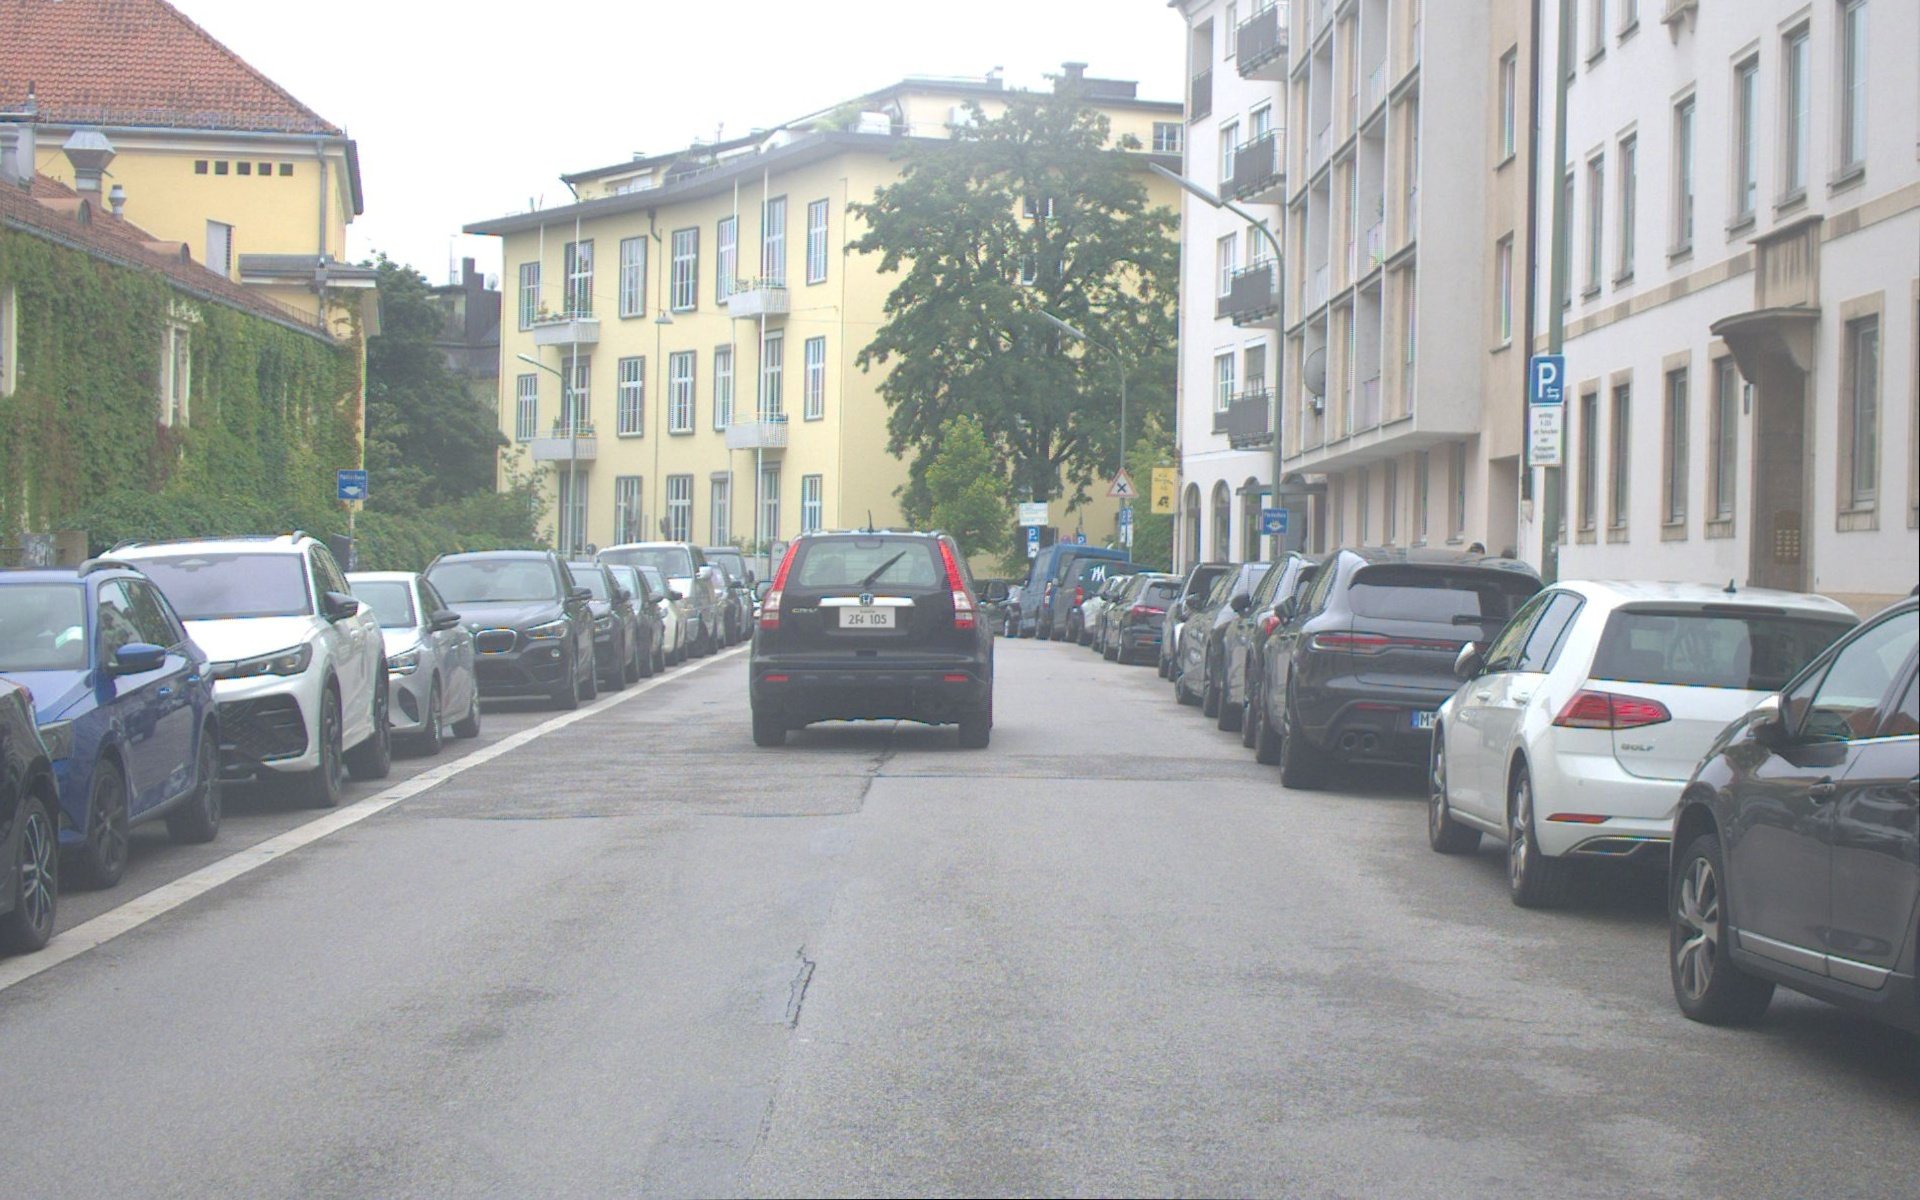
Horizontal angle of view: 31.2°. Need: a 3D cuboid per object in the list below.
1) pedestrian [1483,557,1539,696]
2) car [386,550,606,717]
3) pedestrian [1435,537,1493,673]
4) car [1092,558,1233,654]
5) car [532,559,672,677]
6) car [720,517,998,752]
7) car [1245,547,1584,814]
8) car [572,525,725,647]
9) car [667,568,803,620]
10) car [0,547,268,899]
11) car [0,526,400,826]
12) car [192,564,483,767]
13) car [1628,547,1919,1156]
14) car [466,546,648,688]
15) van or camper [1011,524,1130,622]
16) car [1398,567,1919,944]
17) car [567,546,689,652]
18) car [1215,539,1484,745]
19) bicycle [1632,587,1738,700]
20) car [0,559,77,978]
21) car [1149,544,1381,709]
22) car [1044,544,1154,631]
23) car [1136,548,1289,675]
[{"bbox_3d":[6.349,0.300,39.648,0.531,1.579,0.560,1,1,0],"label":"pedestrian"},{"bbox_3d":[-4.624,0.290,34.751,1.781,1.532,4.196,1,1,-2],"label":"car"},{"bbox_3d":[6.170,0.060,42.101,0.596,1.648,0.630,1,1,0],"label":"pedestrian"},{"bbox_3d":[3.170,0.065,54.536,1.796,1.416,4.483,1,1,-2],"label":"car"},{"bbox_3d":[-4.721,0.204,45.719,1.578,1.450,3.905,1,1,-2],"label":"car"},{"bbox_3d":[-0.716,0.217,27.348,1.995,1.688,4.380,1,1,1],"label":"car"},{"bbox_3d":[2.965,0.463,23.259,1.778,1.579,4.330,2,1,1],"label":"car"},{"bbox_3d":[-5.010,-0.252,55.834,1.993,1.869,4.758,1,1,1],"label":"car"},{"bbox_3d":[-7.435,-0.219,113.467,3.993,1.612,1.997,1,1,26],"label":"car"},{"bbox_3d":[-4.605,0.515,16.738,1.680,1.500,3.974,-1,1,-1],"label":"car"},{"bbox_3d":[-4.610,0.390,21.343,1.680,1.628,4.357,-2,1,-2],"label":"car"},{"bbox_3d":[-4.771,0.453,26.807,1.680,1.421,3.895,-1,1,-2],"label":"car"},{"bbox_3d":[3.325,0.686,10.046,1.692,1.578,4.084,4,1,-3],"label":"car"},{"bbox_3d":[-4.687,0.162,40.462,1.781,1.532,4.149,1,1,-2],"label":"car"},{"bbox_3d":[2.579,-0.665,81.585,2.060,2.223,5.439,0,1,-6],"label":"van or camper"},{"bbox_3d":[3.247,0.630,16.322,1.692,1.459,4.083,4,1,-1],"label":"car"},{"bbox_3d":[-4.869,-0.038,50.792,1.578,1.487,3.730,0,1,-2],"label":"car"},{"bbox_3d":[3.149,0.288,28.518,1.778,1.579,4.271,0,1,1],"label":"car"},{"bbox_3d":[7.514,0.438,35.688,0.659,1.122,2.028,0,1,0],"label":"bicycle"},{"bbox_3d":[-4.269,0.639,11.369,1.680,1.490,3.986,-1,1,-1],"label":"car"},{"bbox_3d":[3.018,0.209,34.958,1.856,1.539,4.816,1,1,-1],"label":"car"},{"bbox_3d":[3.033,-0.309,76.058,1.964,1.810,4.936,1,1,-3],"label":"car"},{"bbox_3d":[3.209,0.109,44.347,1.671,1.529,3.881,1,1,0],"label":"car"}]
